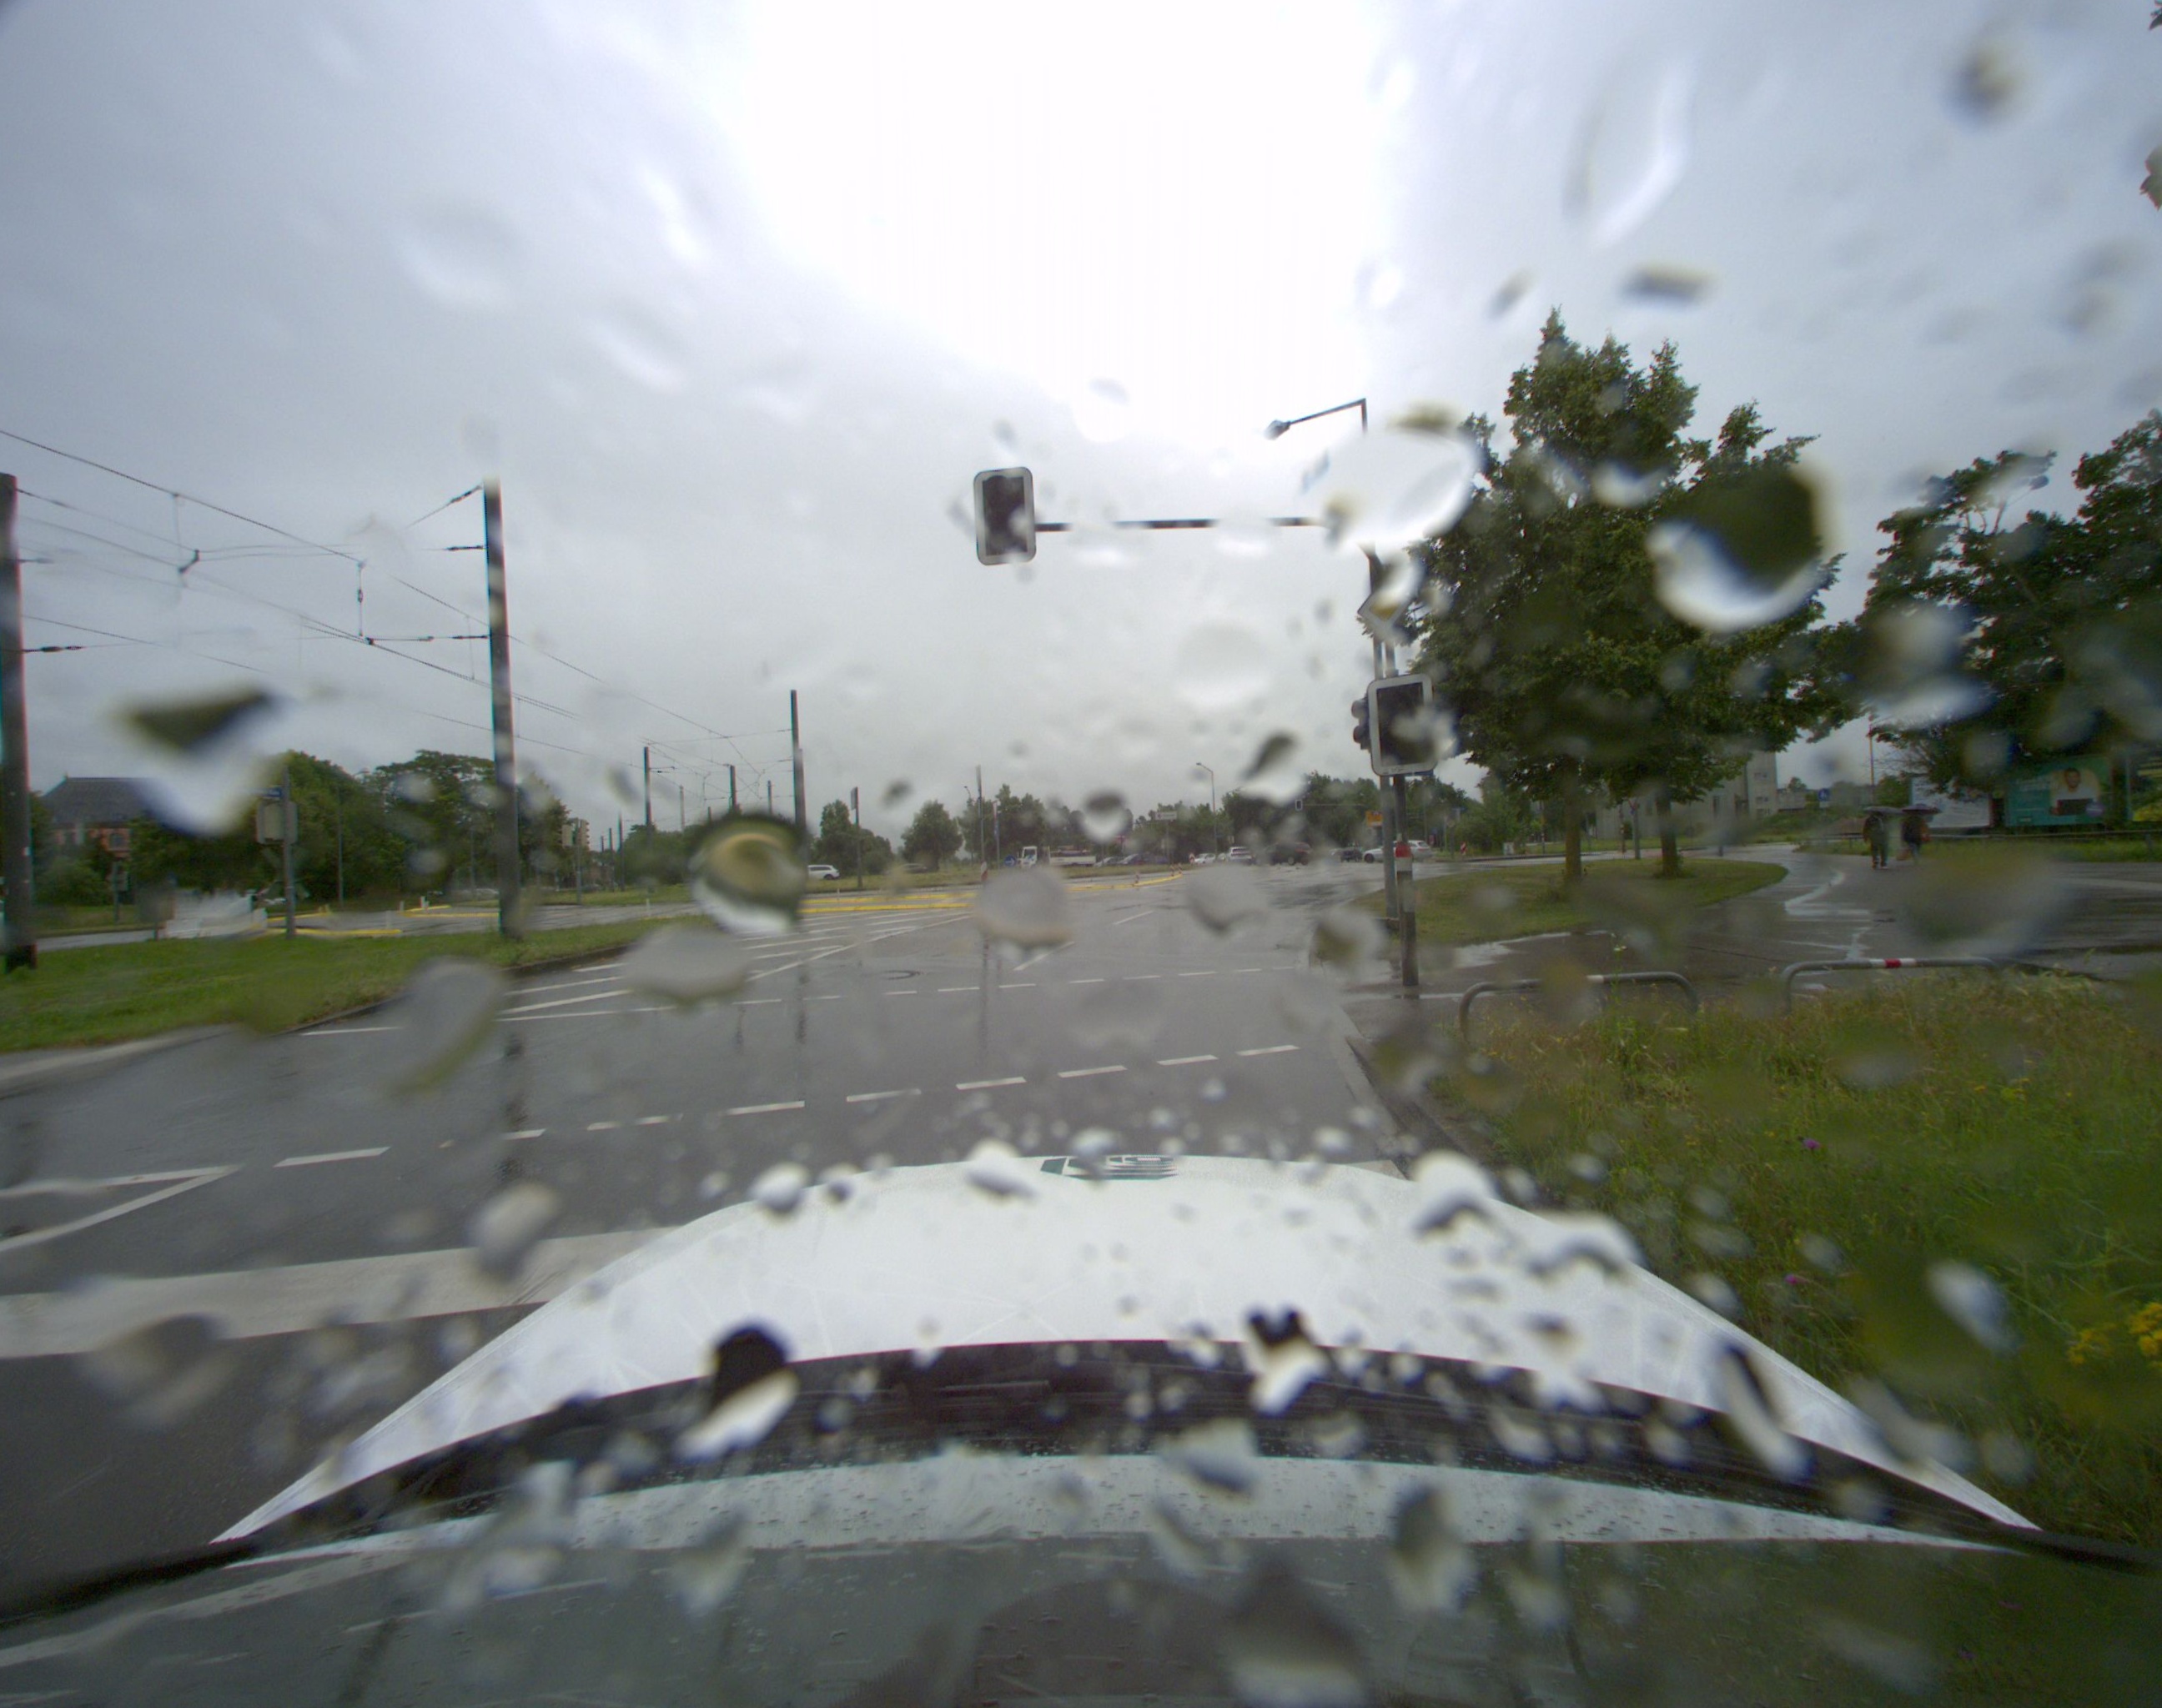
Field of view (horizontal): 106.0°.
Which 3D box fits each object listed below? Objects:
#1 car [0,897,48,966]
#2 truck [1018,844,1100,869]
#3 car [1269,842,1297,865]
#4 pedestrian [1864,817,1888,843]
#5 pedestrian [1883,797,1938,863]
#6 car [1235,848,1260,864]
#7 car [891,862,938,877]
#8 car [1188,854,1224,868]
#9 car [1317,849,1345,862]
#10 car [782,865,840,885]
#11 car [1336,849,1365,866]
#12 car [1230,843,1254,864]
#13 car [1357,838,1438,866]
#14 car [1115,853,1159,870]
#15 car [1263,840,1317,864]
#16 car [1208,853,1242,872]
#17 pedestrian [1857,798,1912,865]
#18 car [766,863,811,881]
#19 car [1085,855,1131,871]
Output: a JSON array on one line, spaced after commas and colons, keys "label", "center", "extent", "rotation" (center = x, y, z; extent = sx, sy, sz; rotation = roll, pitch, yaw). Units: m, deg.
[{"label": "car", "center": [-24.426, 1.736, 17.068], "extent": [1.856, 1.486, 4.188], "rotation": [0, -1, -28]}, {"label": "truck", "center": [-2.324, 0.240, 88.653], "extent": [8.800, 2.711, 1.986], "rotation": [0, -1, -21]}, {"label": "car", "center": [18.605, -0.026, 74.962], "extent": [1.767, 2.036, 4.023], "rotation": [-1, -1, 25]}, {"label": "pedestrian", "center": [55.819, -1.692, 57.169], "extent": [0.947, 1.772, 0.715], "rotation": [-1, -1, 11]}, {"label": "pedestrian", "center": [23.260, -0.656, 22.845], "extent": [0.811, 1.784, 0.914], "rotation": [0, -1, -33]}, {"label": "car", "center": [16.053, 0.221, 78.557], "extent": [1.673, 1.492, 3.269], "rotation": [-1, -1, 24]}, {"label": "car", "center": [-16.487, 1.507, 80.785], "extent": [4.539, 1.492, 1.604], "rotation": [0, -1, -14]}, {"label": "car", "center": [15.367, 0.840, 99.929], "extent": [4.892, 1.744, 1.756], "rotation": [0, -1, -42]}, {"label": "car", "center": [34.647, 0.164, 112.895], "extent": [1.975, 1.750, 4.023], "rotation": [-1, -1, 45]}, {"label": "car", "center": [-24.376, 1.885, 73.531], "extent": [4.870, 1.744, 1.764], "rotation": [0, -1, -23]}, {"label": "car", "center": [26.868, 0.366, 81.111], "extent": [1.672, 1.492, 3.272], "rotation": [-3, 0, 39]}, {"label": "car", "center": [13.085, -0.056, 66.450], "extent": [1.671, 1.648, 3.956], "rotation": [0, -1, 8]}, {"label": "car", "center": [21.466, -0.109, 55.264], "extent": [4.775, 1.811, 1.800], "rotation": [-1, -1, 38]}, {"label": "car", "center": [5.743, 0.776, 83.244], "extent": [4.894, 1.744, 1.756], "rotation": [0, -1, -45]}, {"label": "car", "center": [15.050, -0.132, 58.847], "extent": [1.791, 1.648, 3.969], "rotation": [0, -1, -23]}, {"label": "car", "center": [16.337, 0.947, 92.336], "extent": [4.021, 2.014, 1.657], "rotation": [0, -1, -41]}, {"label": "pedestrian", "center": [22.169, -0.597, 22.472], "extent": [0.811, 1.784, 0.914], "rotation": [0, -1, -33]}, {"label": "car", "center": [-27.676, 1.704, 77.005], "extent": [3.864, 1.620, 1.530], "rotation": [0, -1, -28]}, {"label": "car", "center": [2.925, 0.938, 87.478], "extent": [4.889, 1.744, 1.758], "rotation": [0, -1, -38]}]
